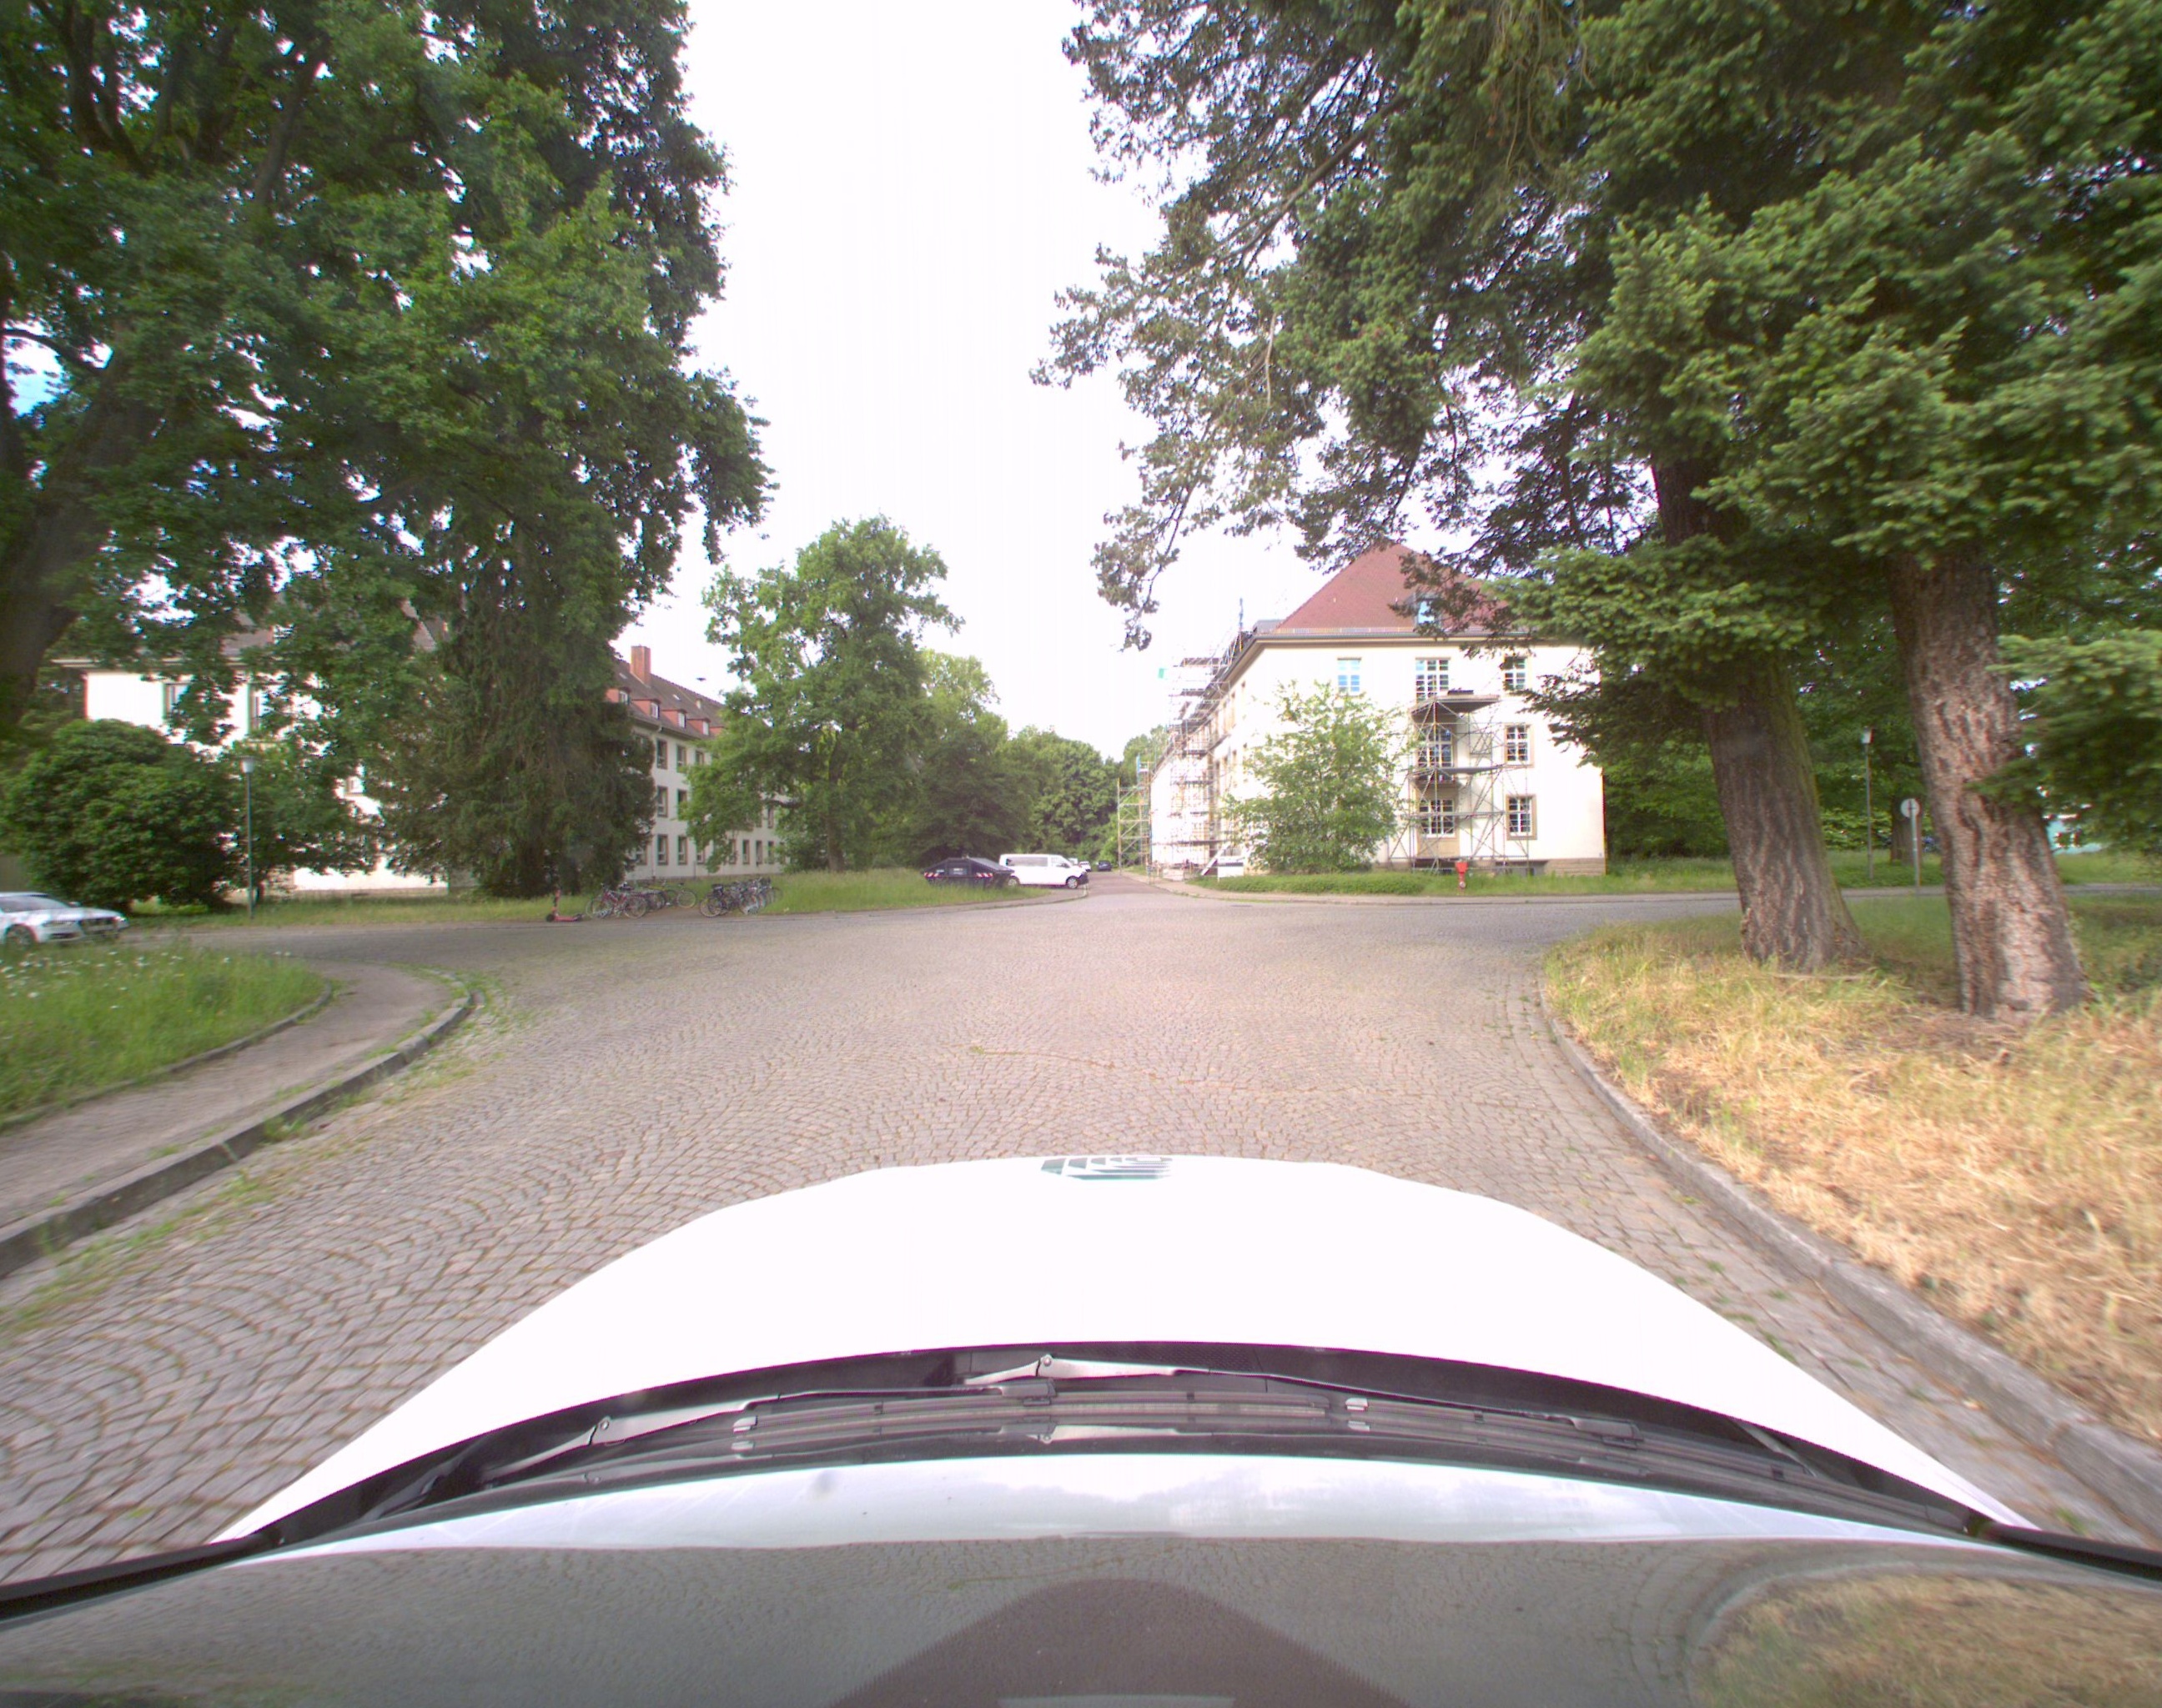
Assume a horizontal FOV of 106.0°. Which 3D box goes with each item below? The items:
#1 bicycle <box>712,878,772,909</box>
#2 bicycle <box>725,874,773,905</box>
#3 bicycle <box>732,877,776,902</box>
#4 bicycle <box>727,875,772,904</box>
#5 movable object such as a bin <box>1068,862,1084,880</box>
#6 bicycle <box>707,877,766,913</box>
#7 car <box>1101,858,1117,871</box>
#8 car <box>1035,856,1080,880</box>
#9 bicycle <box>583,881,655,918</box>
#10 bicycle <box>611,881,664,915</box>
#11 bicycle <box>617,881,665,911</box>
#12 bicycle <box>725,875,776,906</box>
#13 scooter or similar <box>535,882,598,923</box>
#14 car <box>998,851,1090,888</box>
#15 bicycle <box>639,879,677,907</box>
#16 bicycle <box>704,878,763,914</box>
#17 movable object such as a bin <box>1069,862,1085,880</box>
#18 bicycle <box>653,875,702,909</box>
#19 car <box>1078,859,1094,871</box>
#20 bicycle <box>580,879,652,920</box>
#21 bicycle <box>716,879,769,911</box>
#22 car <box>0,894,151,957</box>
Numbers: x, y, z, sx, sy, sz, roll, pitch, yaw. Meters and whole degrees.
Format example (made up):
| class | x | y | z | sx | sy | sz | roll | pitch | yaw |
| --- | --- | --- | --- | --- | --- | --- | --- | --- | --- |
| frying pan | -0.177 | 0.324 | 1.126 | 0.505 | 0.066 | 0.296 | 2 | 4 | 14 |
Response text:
| class | x | y | z | sx | sy | sz | roll | pitch | yaw |
| --- | --- | --- | --- | --- | --- | --- | --- | --- | --- |
| bicycle | -12.449 | 1.434 | 29.947 | 1.960 | 1.004 | 0.682 | -2 | 2 | -19 |
| bicycle | -13.156 | 1.394 | 32.298 | 1.702 | 1.116 | 0.538 | -2 | 2 | -19 |
| bicycle | -13.381 | 1.464 | 33.381 | 1.621 | 0.911 | 0.523 | -2 | 2 | -19 |
| bicycle | -13.330 | 1.413 | 32.813 | 1.621 | 1.058 | 0.523 | -2 | 2 | -19 |
| movable object such as a bin | -0.407 | 1.391 | 65.363 | 1.179 | 1.407 | 0.975 | 1 | -2 | 0 |
| bicycle | -12.014 | 1.416 | 28.466 | 1.799 | 1.103 | 0.698 | -2 | 2 | -19 |
| car | 3.871 | 1.472 | 112.966 | 2.055 | 1.593 | 4.002 | 1 | -1 | 3 |
| car | -2.190 | 1.302 | 74.292 | 3.979 | 2.014 | 1.918 | 2 | -2 | -4 |
| bicycle | -15.329 | 1.490 | 27.062 | 1.991 | 1.114 | 0.639 | -1 | 1 | -19 |
| bicycle | -15.660 | 1.534 | 28.767 | 1.635 | 1.073 | 0.534 | -1 | 1 | -30 |
| bicycle | -16.203 | 1.538 | 30.023 | 1.521 | 1.035 | 0.540 | -1 | 1 | -30 |
| bicycle | -12.884 | 1.409 | 31.815 | 1.776 | 1.105 | 0.538 | -2 | 2 | -19 |
| scooter or similar | -16.254 | 1.520 | 25.740 | 1.541 | 1.195 | 0.683 | -2 | 0 | 3 |
| car | -2.073 | 0.909 | 46.811 | 5.185 | 2.060 | 2.187 | 0 | -1 | -1 |
| bicycle | -16.889 | 1.564 | 32.523 | 1.263 | 1.029 | 0.431 | -2 | -3 | -19 |
| bicycle | -11.823 | 1.422 | 27.755 | 1.773 | 1.103 | 0.698 | -2 | 2 | -19 |
| movable object such as a bin | -0.324 | 1.407 | 66.495 | 1.179 | 1.407 | 0.975 | 1 | -2 | 0 |
| bicycle | -15.382 | 1.444 | 31.088 | 1.647 | 1.185 | 0.569 | -1 | 1 | -26 |
| car | 0.663 | 1.503 | 112.797 | 1.996 | 1.548 | 3.954 | 2 | -1 | -3 |
| bicycle | -15.071 | 1.457 | 26.438 | 1.901 | 1.222 | 0.639 | -1 | 1 | -19 |
| bicycle | -12.114 | 1.452 | 29.199 | 1.696 | 1.001 | 0.628 | -2 | 2 | -19 |
| car | -26.873 | 1.805 | 20.489 | 4.677 | 1.437 | 1.854 | -1 | -2 | -1 |
